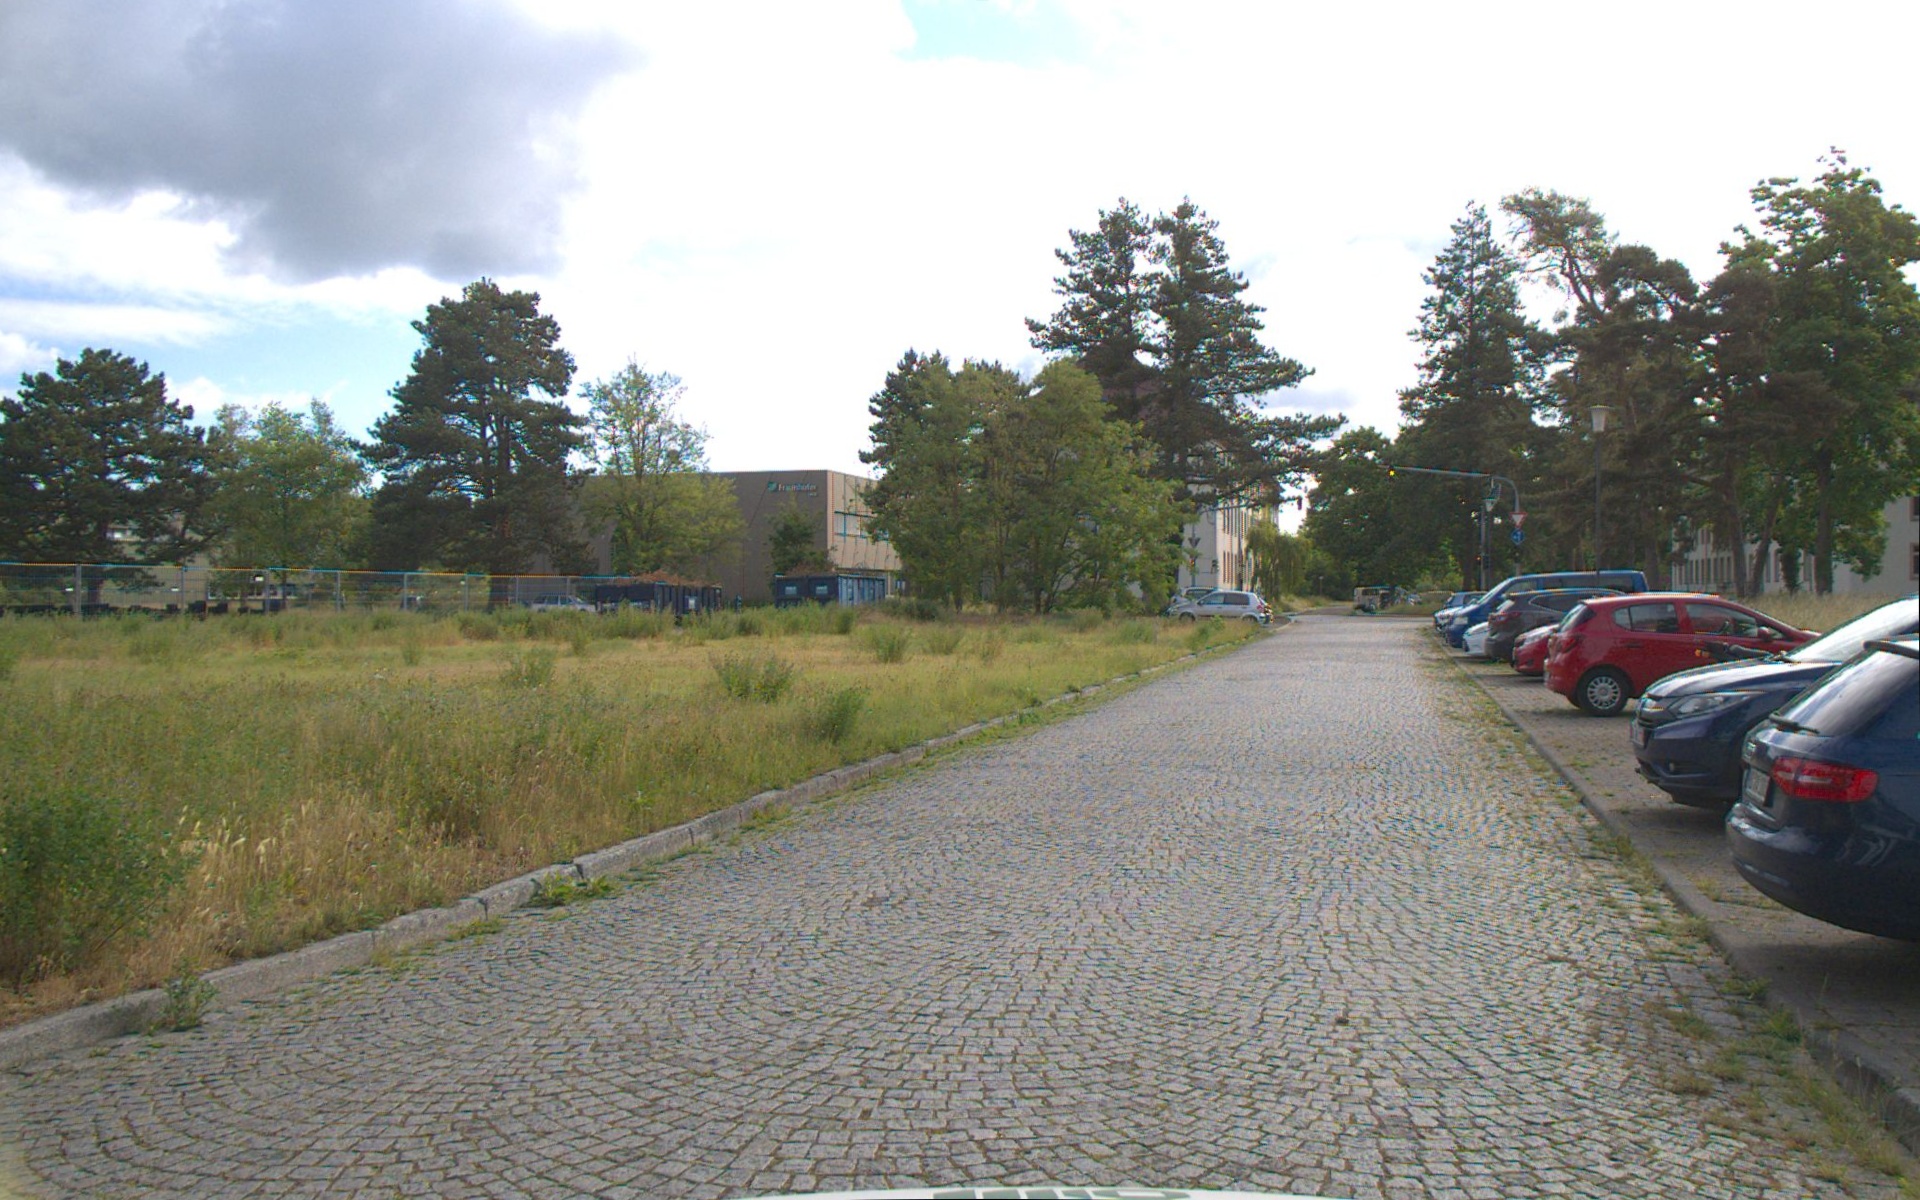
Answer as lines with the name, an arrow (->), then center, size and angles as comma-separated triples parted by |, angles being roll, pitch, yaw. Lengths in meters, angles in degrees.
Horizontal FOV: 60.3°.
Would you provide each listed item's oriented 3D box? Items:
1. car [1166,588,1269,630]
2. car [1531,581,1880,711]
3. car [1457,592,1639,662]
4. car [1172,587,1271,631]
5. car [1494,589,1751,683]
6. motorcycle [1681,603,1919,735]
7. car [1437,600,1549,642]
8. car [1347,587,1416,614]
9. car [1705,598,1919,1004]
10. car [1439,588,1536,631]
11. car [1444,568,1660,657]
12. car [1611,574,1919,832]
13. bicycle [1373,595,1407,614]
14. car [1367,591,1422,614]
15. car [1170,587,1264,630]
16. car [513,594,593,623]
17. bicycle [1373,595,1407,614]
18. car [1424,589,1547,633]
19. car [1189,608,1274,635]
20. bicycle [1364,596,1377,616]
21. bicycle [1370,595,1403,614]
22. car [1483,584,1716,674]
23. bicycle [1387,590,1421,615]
car -> 10.044, 0.352, 64.504 | 3.902, 1.579, 2.002 | 0, 0, 8
car -> 9.358, 0.573, 21.068 | 3.757, 1.532, 1.739 | -1, 0, 13
car -> 13.199, 0.595, 37.299 | 3.643, 1.449, 1.656 | -2, 0, 12
car -> 10.584, 0.351, 67.009 | 3.902, 1.735, 2.002 | 0, 0, 8
car -> 11.290, 0.587, 28.447 | 3.902, 1.545, 1.739 | 0, 0, 15
motorcycle -> 8.566, 0.697, 16.749 | 2.216, 1.297, 0.606 | -1, 0, 10
car -> 17.122, 0.669, 53.270 | 3.222, 1.289, 1.665 | 0, 0, 9
car -> 32.731, 0.055, 128.503 | 4.944, 2.049, 2.001 | 0, 0, 4
car -> 5.495, 0.710, 6.558 | 4.410, 1.490, 1.896 | -2, 0, 18
car -> 19.966, 0.357, 62.731 | 3.316, 1.570, 1.392 | 0, 0, 9
car -> 14.125, 0.298, 39.701 | 4.680, 2.075, 1.739 | 0, 0, 13
car -> 6.754, 0.624, 11.128 | 4.172, 1.601, 1.897 | -1, 0, 14
bicycle -> 28.879, 0.321, 111.071 | 2.114, 1.290, 0.813 | 0, 0, 8
car -> 32.838, 0.180, 125.083 | 3.902, 1.673, 2.002 | 0, 0, 9
car -> 10.860, 0.338, 70.030 | 3.902, 1.780, 1.928 | 0, 0, 8
car -> -22.393, 0.449, 91.094 | 3.902, 1.580, 1.810 | 0, 0, 14
bicycle -> 29.020, 0.326, 111.641 | 2.114, 1.290, 0.813 | 0, 0, 8
car -> 19.117, 0.395, 60.295 | 4.034, 1.570, 1.665 | 0, 0, 9
car -> 11.820, 0.923, 72.094 | 3.592, 1.113, 1.648 | 0, 0, 8
bicycle -> 26.765, 0.367, 107.737 | 0.792, 1.290, 1.974 | 0, 0, 15
bicycle -> 29.095, 0.332, 112.878 | 2.114, 1.290, 0.813 | 0, 0, 8
car -> 11.866, 0.508, 30.927 | 3.866, 1.608, 1.763 | 0, 0, 13
bicycle -> 30.077, 0.171, 112.098 | 2.114, 1.644, 0.813 | 0, 0, 8
